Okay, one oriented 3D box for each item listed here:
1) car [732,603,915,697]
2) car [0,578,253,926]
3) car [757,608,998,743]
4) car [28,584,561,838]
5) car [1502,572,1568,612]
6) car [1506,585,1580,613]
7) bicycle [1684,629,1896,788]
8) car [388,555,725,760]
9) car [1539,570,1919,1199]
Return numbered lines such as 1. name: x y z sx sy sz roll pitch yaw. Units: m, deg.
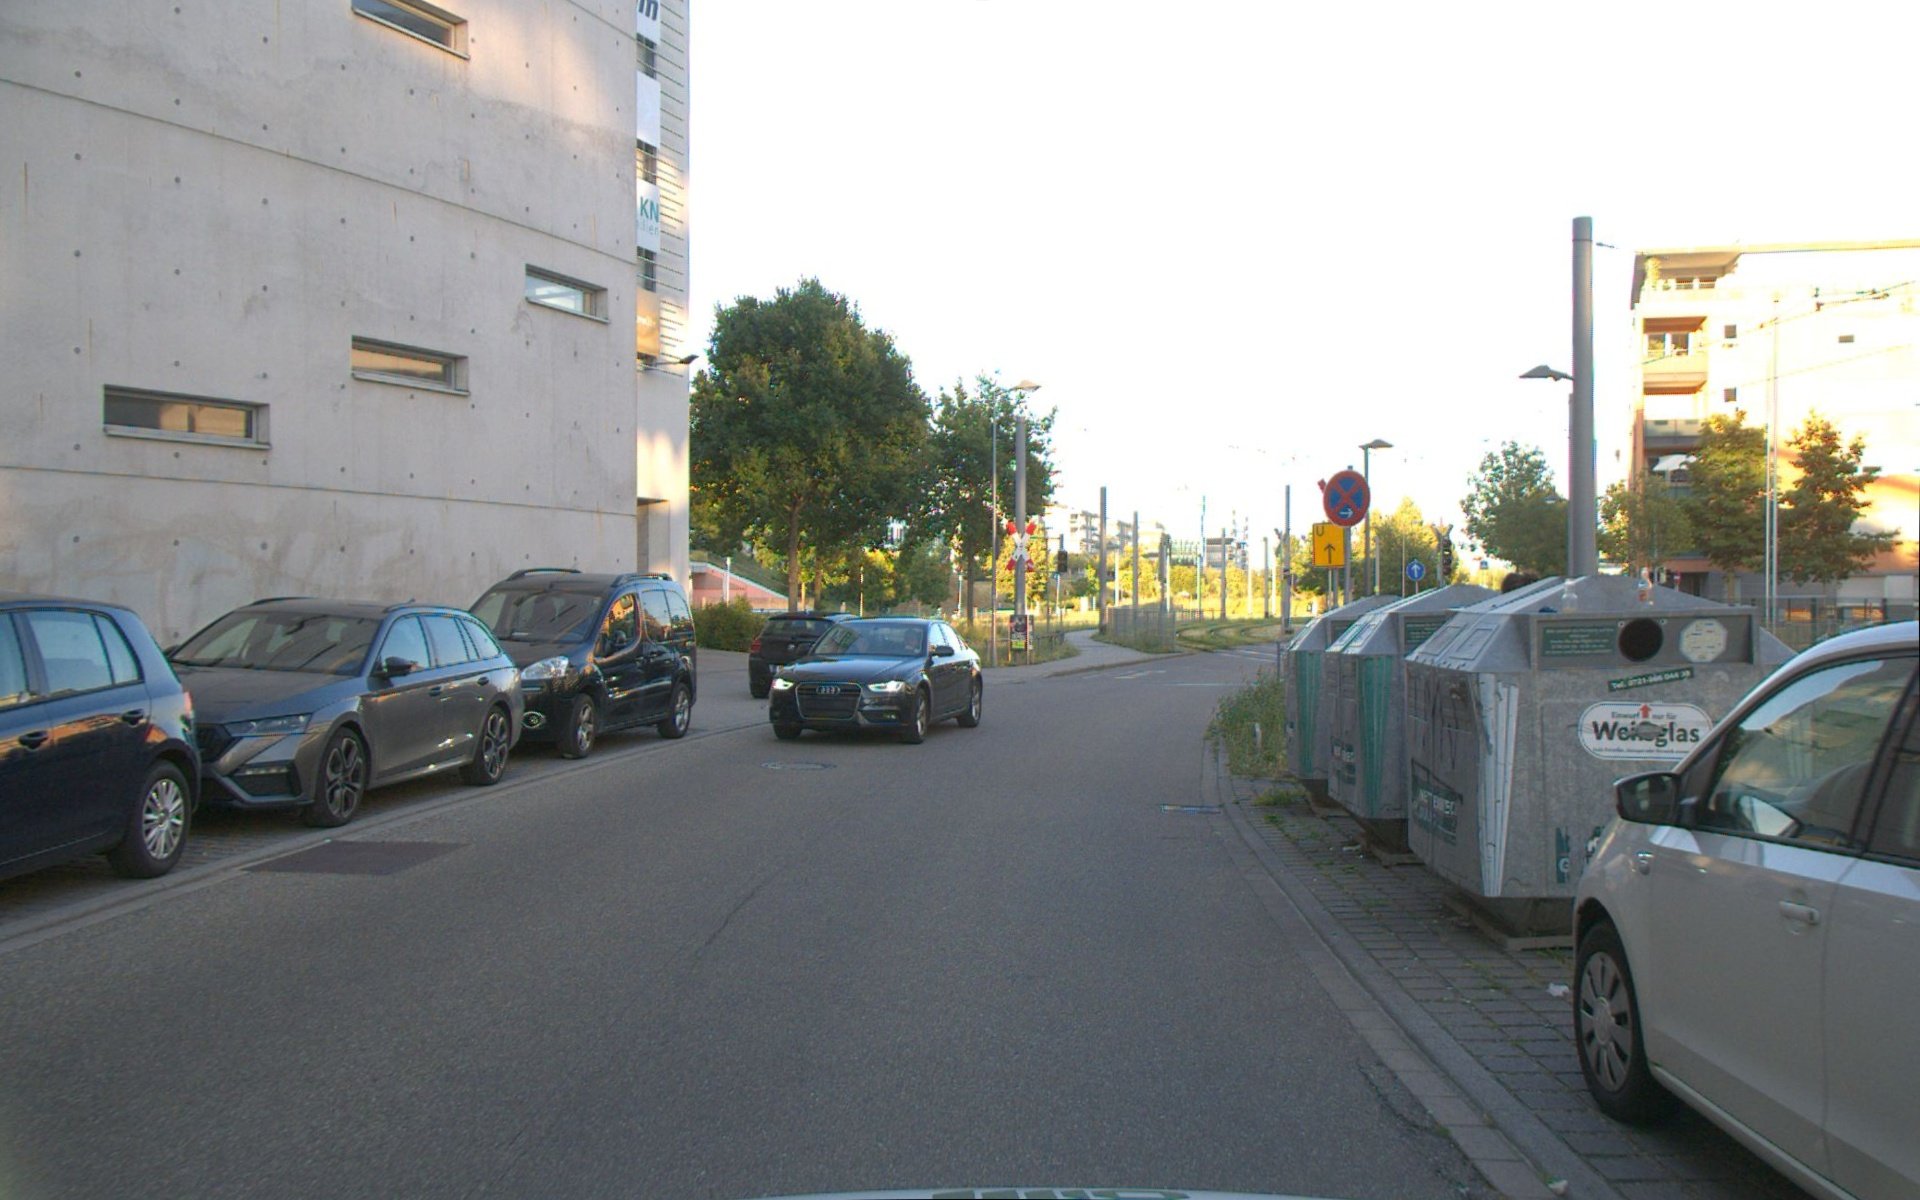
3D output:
1. car: -2.228 0.786 28.236 1.902 1.407 4.403 2 0 12
2. car: -4.991 0.646 7.370 1.687 1.483 4.272 2 0 2
3. car: -0.873 0.828 20.387 1.740 1.447 4.519 0 0 14
4. car: -4.644 0.666 12.445 1.686 1.483 4.697 2 0 6
5. car: 37.873 -0.536 109.025 4.066 2.629 1.704 0 0 17
6. car: 34.661 -0.065 98.344 4.068 1.604 1.703 0 0 21
7. bicycle: 6.270 0.784 12.601 0.748 1.101 1.689 0 0 -1
8. car: -4.062 0.525 17.515 1.720 1.830 4.467 2 0 11
9. car: 2.642 0.679 3.610 1.686 1.493 3.554 -1 0 3
